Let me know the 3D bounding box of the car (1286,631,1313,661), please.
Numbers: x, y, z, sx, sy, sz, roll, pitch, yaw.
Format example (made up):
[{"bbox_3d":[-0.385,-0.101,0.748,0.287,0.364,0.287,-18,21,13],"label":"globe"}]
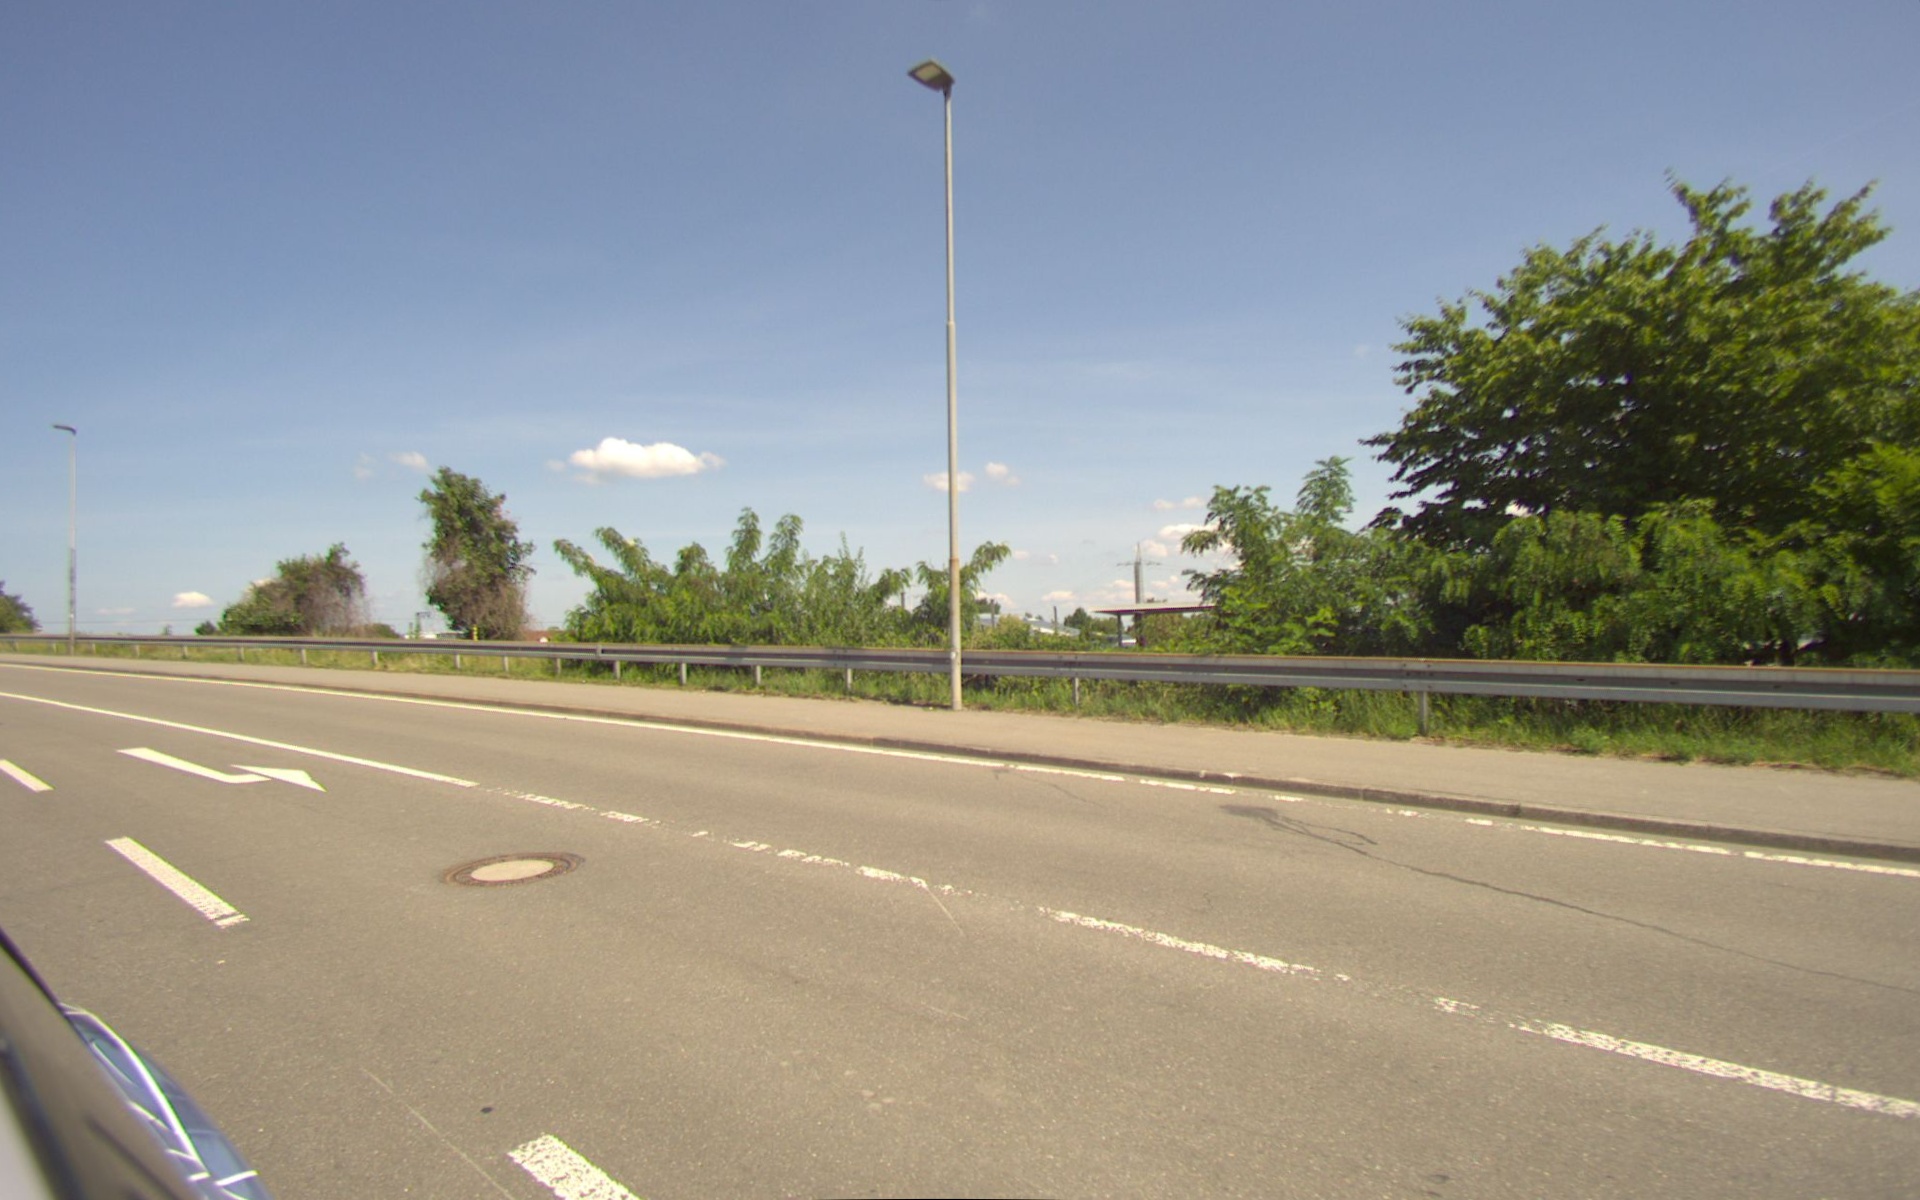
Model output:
[{"bbox_3d":[23.566,3.208,70.139,1.682,2.029,3.973,0,-4,19],"label":"car"}]

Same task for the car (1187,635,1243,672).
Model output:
[{"bbox_3d":[13.919,2.884,55.123,1.990,1.829,3.963,-4,-3,27],"label":"car"}]

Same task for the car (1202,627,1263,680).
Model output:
[{"bbox_3d":[11.961,2.301,44.197,1.948,2.029,3.969,-4,-2,23],"label":"car"}]
